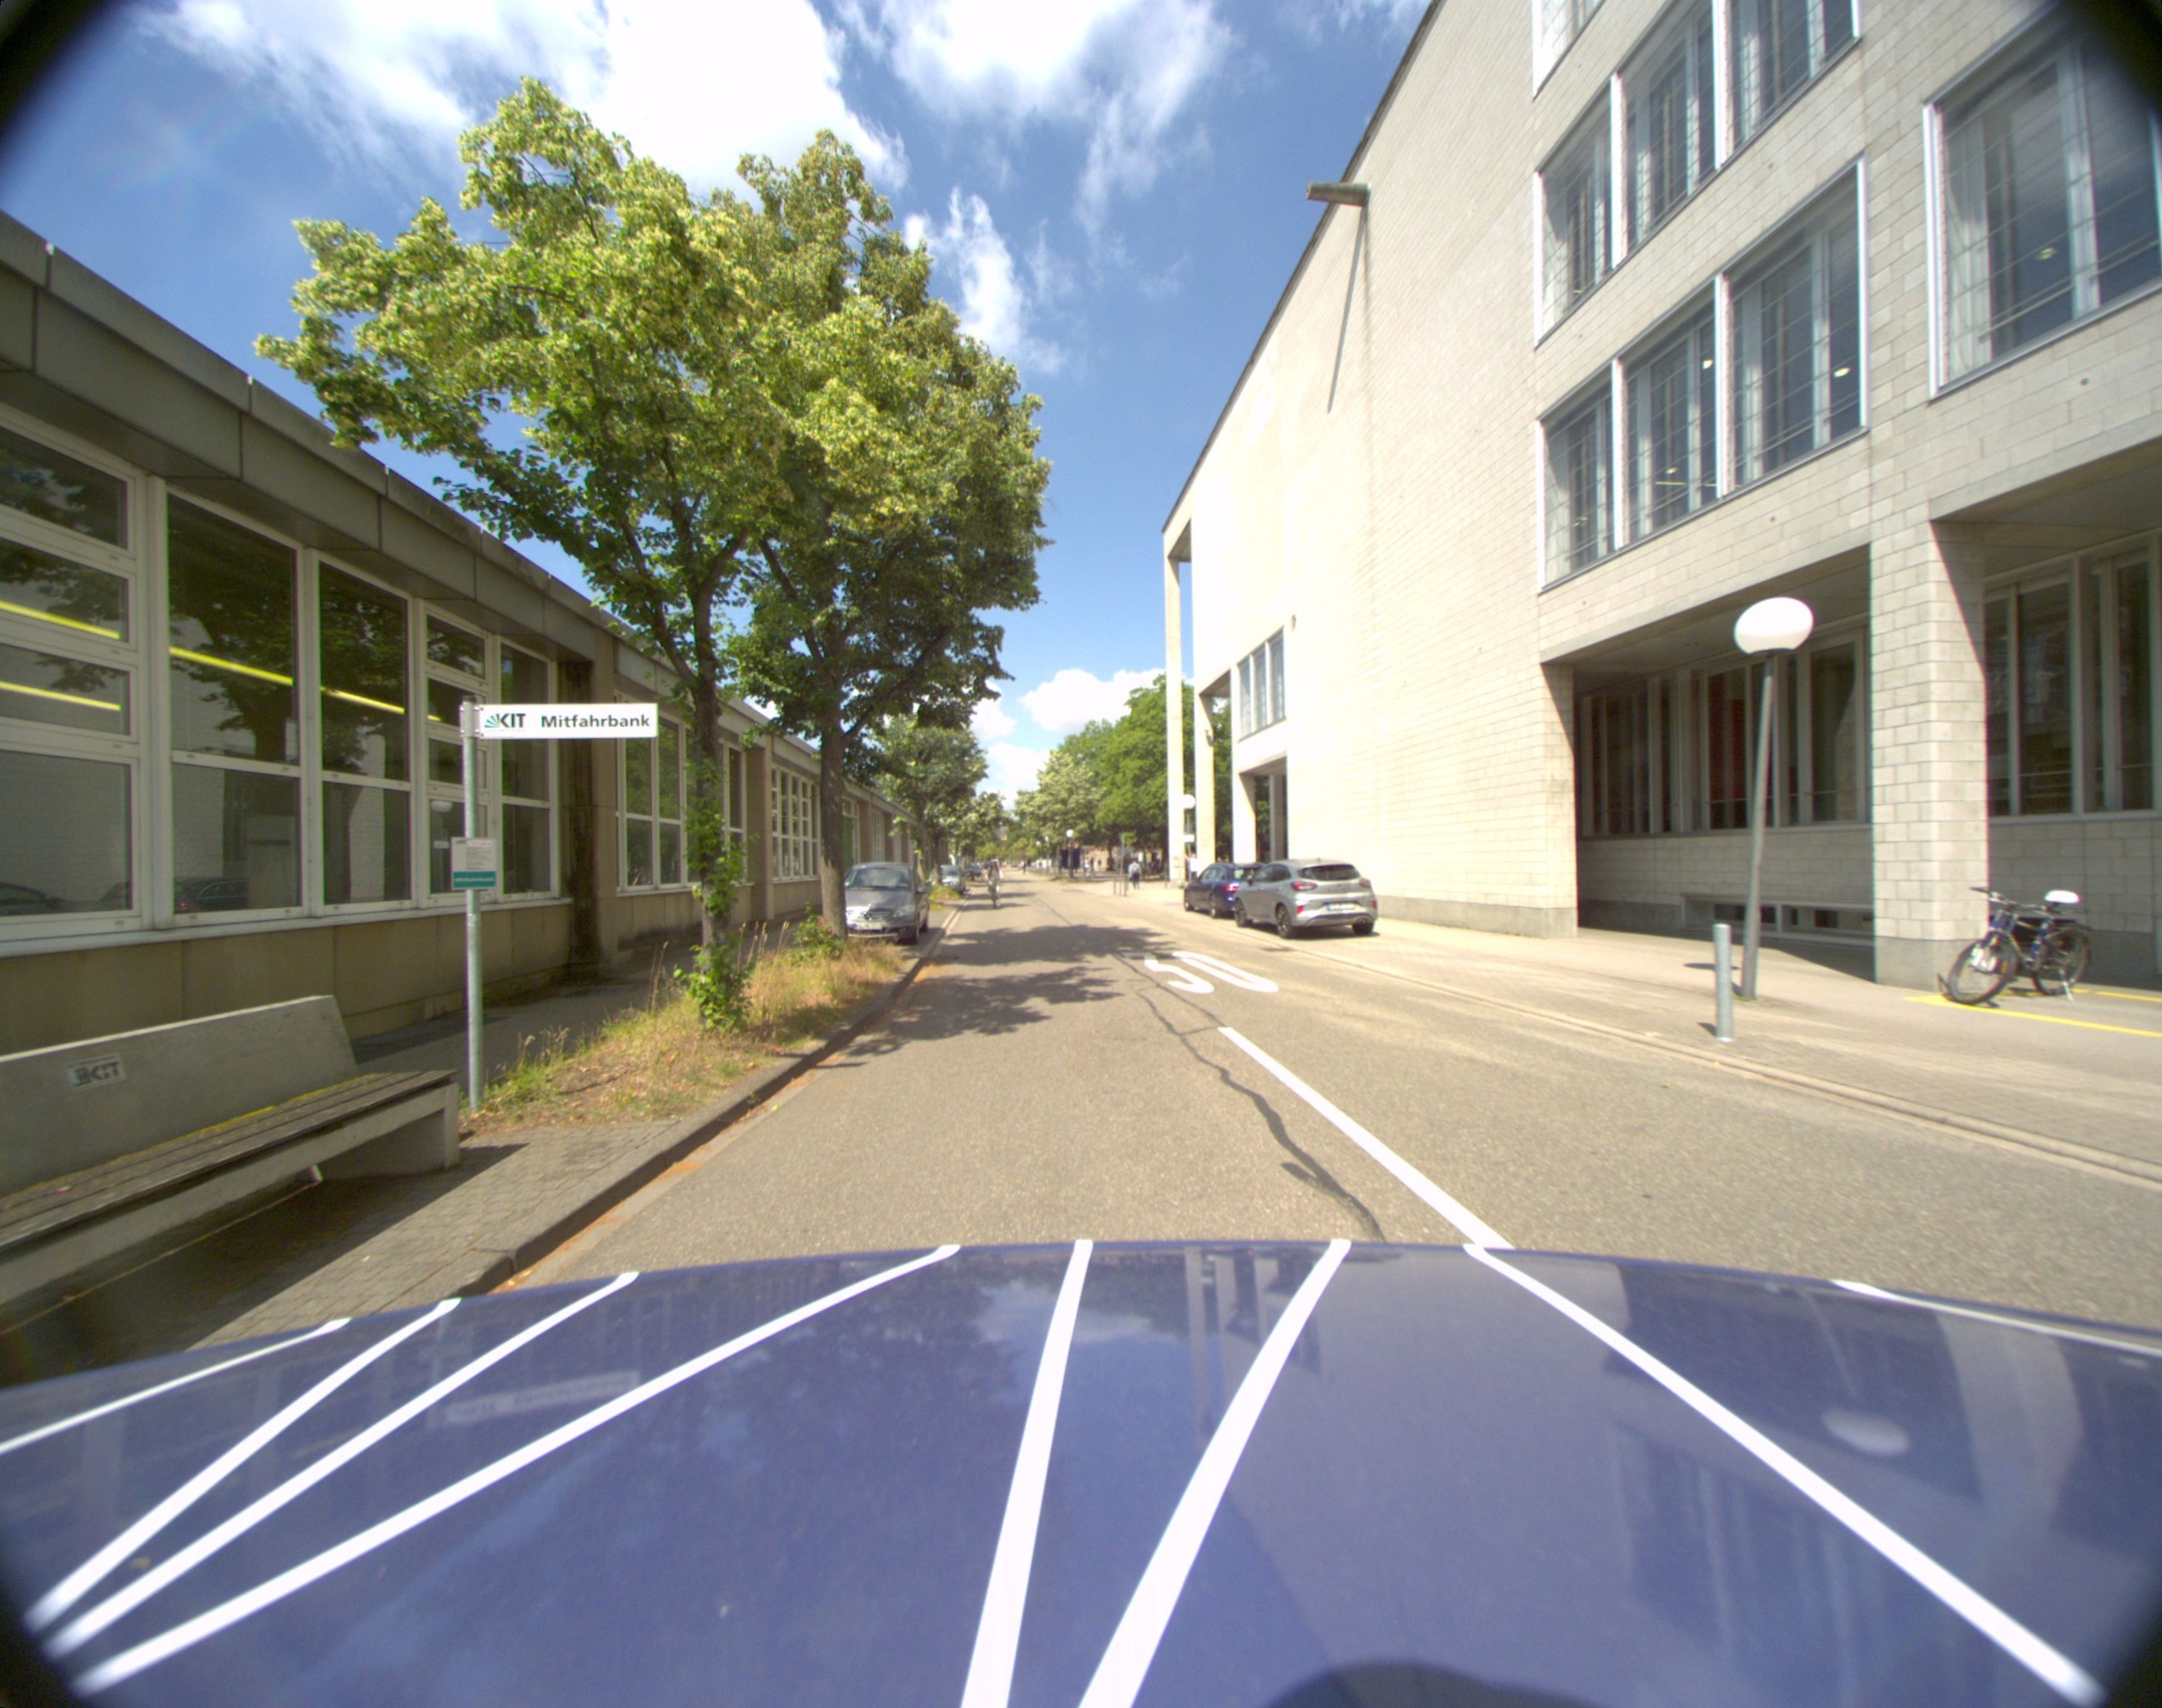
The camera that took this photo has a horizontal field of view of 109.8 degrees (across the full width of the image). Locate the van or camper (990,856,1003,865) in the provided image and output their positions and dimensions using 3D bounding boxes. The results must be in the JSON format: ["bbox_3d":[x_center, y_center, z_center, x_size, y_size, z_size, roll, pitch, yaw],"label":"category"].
[{"bbox_3d":[-20.968,1.631,188.238,1.997,2.347,4.387,-1,0,10],"label":"van or camper"}]

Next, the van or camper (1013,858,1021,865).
[{"bbox_3d":[-19.980,2.336,237.776,1.853,2.093,4.304,-1,0,3],"label":"van or camper"}]

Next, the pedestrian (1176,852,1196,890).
[{"bbox_3d":[5.653,0.913,40.934,0.755,2.002,1.080,-2,0,-7],"label":"pedestrian"}]

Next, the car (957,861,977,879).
[{"bbox_3d":[-9.908,1.352,66.413,1.650,1.484,3.813,1,0,-7],"label":"car"}]

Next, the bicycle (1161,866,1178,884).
[{"bbox_3d":[5.630,1.329,48.462,0.509,1.100,1.999,-1,0,-11],"label":"bicycle"}]

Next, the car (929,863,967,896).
[{"bbox_3d":[-6.612,1.235,38.063,1.623,1.502,3.815,1,-1,-7],"label":"car"}]

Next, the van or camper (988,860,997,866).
[{"bbox_3d":[-28.601,2.995,245.863,2.093,1.963,4.261,-1,0,7],"label":"van or camper"}]

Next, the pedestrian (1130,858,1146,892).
[{"bbox_3d":[3.074,1.129,40.875,0.761,1.715,1.235,-4,1,4],"label":"pedestrian"}]

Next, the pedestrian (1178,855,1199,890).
[{"bbox_3d":[5.609,0.966,39.654,0.755,1.770,1.080,-2,0,-7],"label":"pedestrian"}]

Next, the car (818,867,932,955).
[{"bbox_3d":[-4.125,1.073,15.771,1.761,1.559,3.815,0,-1,-7],"label":"car"}]

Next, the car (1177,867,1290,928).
[{"bbox_3d":[4.061,1.109,21.103,1.731,1.414,4.662,-1,0,-6],"label":"car"}]

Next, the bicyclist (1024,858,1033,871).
[{"bbox_3d":[-6.988,1.352,100.654,1.053,1.689,1.281,-2,0,-6],"label":"bicyclist"}]

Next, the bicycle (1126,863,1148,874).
[{"bbox_3d":[5.388,1.378,73.238,2.128,1.052,0.681,-2,0,-36],"label":"bicycle"}]

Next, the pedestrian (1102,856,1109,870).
[{"bbox_3d":[2.931,1.070,90.720,0.678,1.661,0.814,-2,0,-1],"label":"pedestrian"}]

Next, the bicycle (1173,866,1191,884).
[{"bbox_3d":[6.473,1.322,48.576,0.592,1.052,2.123,-2,0,-7],"label":"bicycle"}]

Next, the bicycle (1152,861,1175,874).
[{"bbox_3d":[7.594,1.245,69.820,2.128,1.151,0.751,-2,0,-36],"label":"bicycle"}]

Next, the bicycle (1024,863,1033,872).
[{"bbox_3d":[-6.988,1.802,100.691,1.012,1.169,3.392,-2,0,-6],"label":"bicycle"}]

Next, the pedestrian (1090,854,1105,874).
[{"bbox_3d":[1.709,1.024,79.648,1.401,2.002,1.368,-2,0,-7],"label":"pedestrian"}]

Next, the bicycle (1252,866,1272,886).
[{"bbox_3d":[9.788,1.178,41.168,0.517,0.980,1.964,-2,0,-3],"label":"bicycle"}]

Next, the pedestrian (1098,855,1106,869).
[{"bbox_3d":[2.911,1.151,103.807,0.677,1.882,0.816,-1,1,33],"label":"pedestrian"}]

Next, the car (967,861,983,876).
[{"bbox_3d":[-11.504,1.540,82.370,1.650,1.484,3.813,1,0,-7],"label":"car"}]

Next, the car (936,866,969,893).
[{"bbox_3d":[-7.287,1.416,43.370,1.623,1.454,3.815,1,-1,-7],"label":"car"}]

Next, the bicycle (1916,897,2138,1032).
[{"bbox_3d":[8.823,0.992,7.101,1.644,1.080,0.607,-2,0,-12],"label":"bicycle"}]

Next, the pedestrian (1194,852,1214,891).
[{"bbox_3d":[6.471,0.891,40.011,0.755,2.002,1.080,-2,0,-7],"label":"pedestrian"}]

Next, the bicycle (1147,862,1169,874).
[{"bbox_3d":[7.151,1.307,70.434,2.128,1.100,0.681,-2,0,-36],"label":"bicycle"}]

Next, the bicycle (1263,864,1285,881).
[{"bbox_3d":[12.501,1.164,49.362,0.622,1.052,2.123,-2,0,-7],"label":"bicycle"}]

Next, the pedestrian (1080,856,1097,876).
[{"bbox_3d":[0.670,1.124,70.595,1.401,1.813,1.369,-2,0,-7],"label":"pedestrian"}]

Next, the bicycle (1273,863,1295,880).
[{"bbox_3d":[13.183,1.136,49.371,0.622,1.052,2.173,-2,0,-7],"label":"bicycle"}]

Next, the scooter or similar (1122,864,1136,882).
[{"bbox_3d":[3.397,1.326,53.672,0.713,1.184,1.617,-1,1,15],"label":"scooter or similar"}]

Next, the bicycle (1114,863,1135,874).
[{"bbox_3d":[4.280,1.408,74.992,2.128,1.052,0.621,-2,0,-36],"label":"bicycle"}]

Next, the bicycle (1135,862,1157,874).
[{"bbox_3d":[6.171,1.357,71.887,2.128,1.052,0.681,-2,0,-36],"label":"bicycle"}]

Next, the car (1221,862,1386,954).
[{"bbox_3d":[4.468,1.000,16.025,1.731,1.526,4.403,-3,1,-6],"label":"car"}]

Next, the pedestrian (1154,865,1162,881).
[{"bbox_3d":[8.242,1.971,80.898,0.757,1.661,0.823,-1,0,8],"label":"pedestrian"}]

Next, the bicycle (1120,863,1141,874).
[{"bbox_3d":[4.826,1.393,73.688,2.128,1.052,0.621,-2,0,-36],"label":"bicycle"}]

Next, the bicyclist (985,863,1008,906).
[{"bbox_3d":[-2.946,1.052,26.494,0.781,1.478,0.695,-1,0,-8],"label":"bicyclist"}]

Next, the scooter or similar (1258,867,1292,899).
[{"bbox_3d":[7.744,1.160,30.398,1.212,1.224,0.402,-1,0,34],"label":"scooter or similar"}]

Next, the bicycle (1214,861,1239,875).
[{"bbox_3d":[12.127,1.174,63.235,2.128,1.100,0.751,-2,0,-36],"label":"bicycle"}]

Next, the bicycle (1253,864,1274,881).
[{"bbox_3d":[11.803,1.165,49.252,0.622,1.052,2.123,-2,0,-7],"label":"bicycle"}]

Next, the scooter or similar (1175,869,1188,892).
[{"bbox_3d":[5.016,1.311,38.076,0.318,1.138,1.312,-2,0,-7],"label":"scooter or similar"}]

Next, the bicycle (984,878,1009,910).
[{"bbox_3d":[-2.950,1.378,26.467,0.781,1.042,1.911,-1,0,-9],"label":"bicycle"}]
